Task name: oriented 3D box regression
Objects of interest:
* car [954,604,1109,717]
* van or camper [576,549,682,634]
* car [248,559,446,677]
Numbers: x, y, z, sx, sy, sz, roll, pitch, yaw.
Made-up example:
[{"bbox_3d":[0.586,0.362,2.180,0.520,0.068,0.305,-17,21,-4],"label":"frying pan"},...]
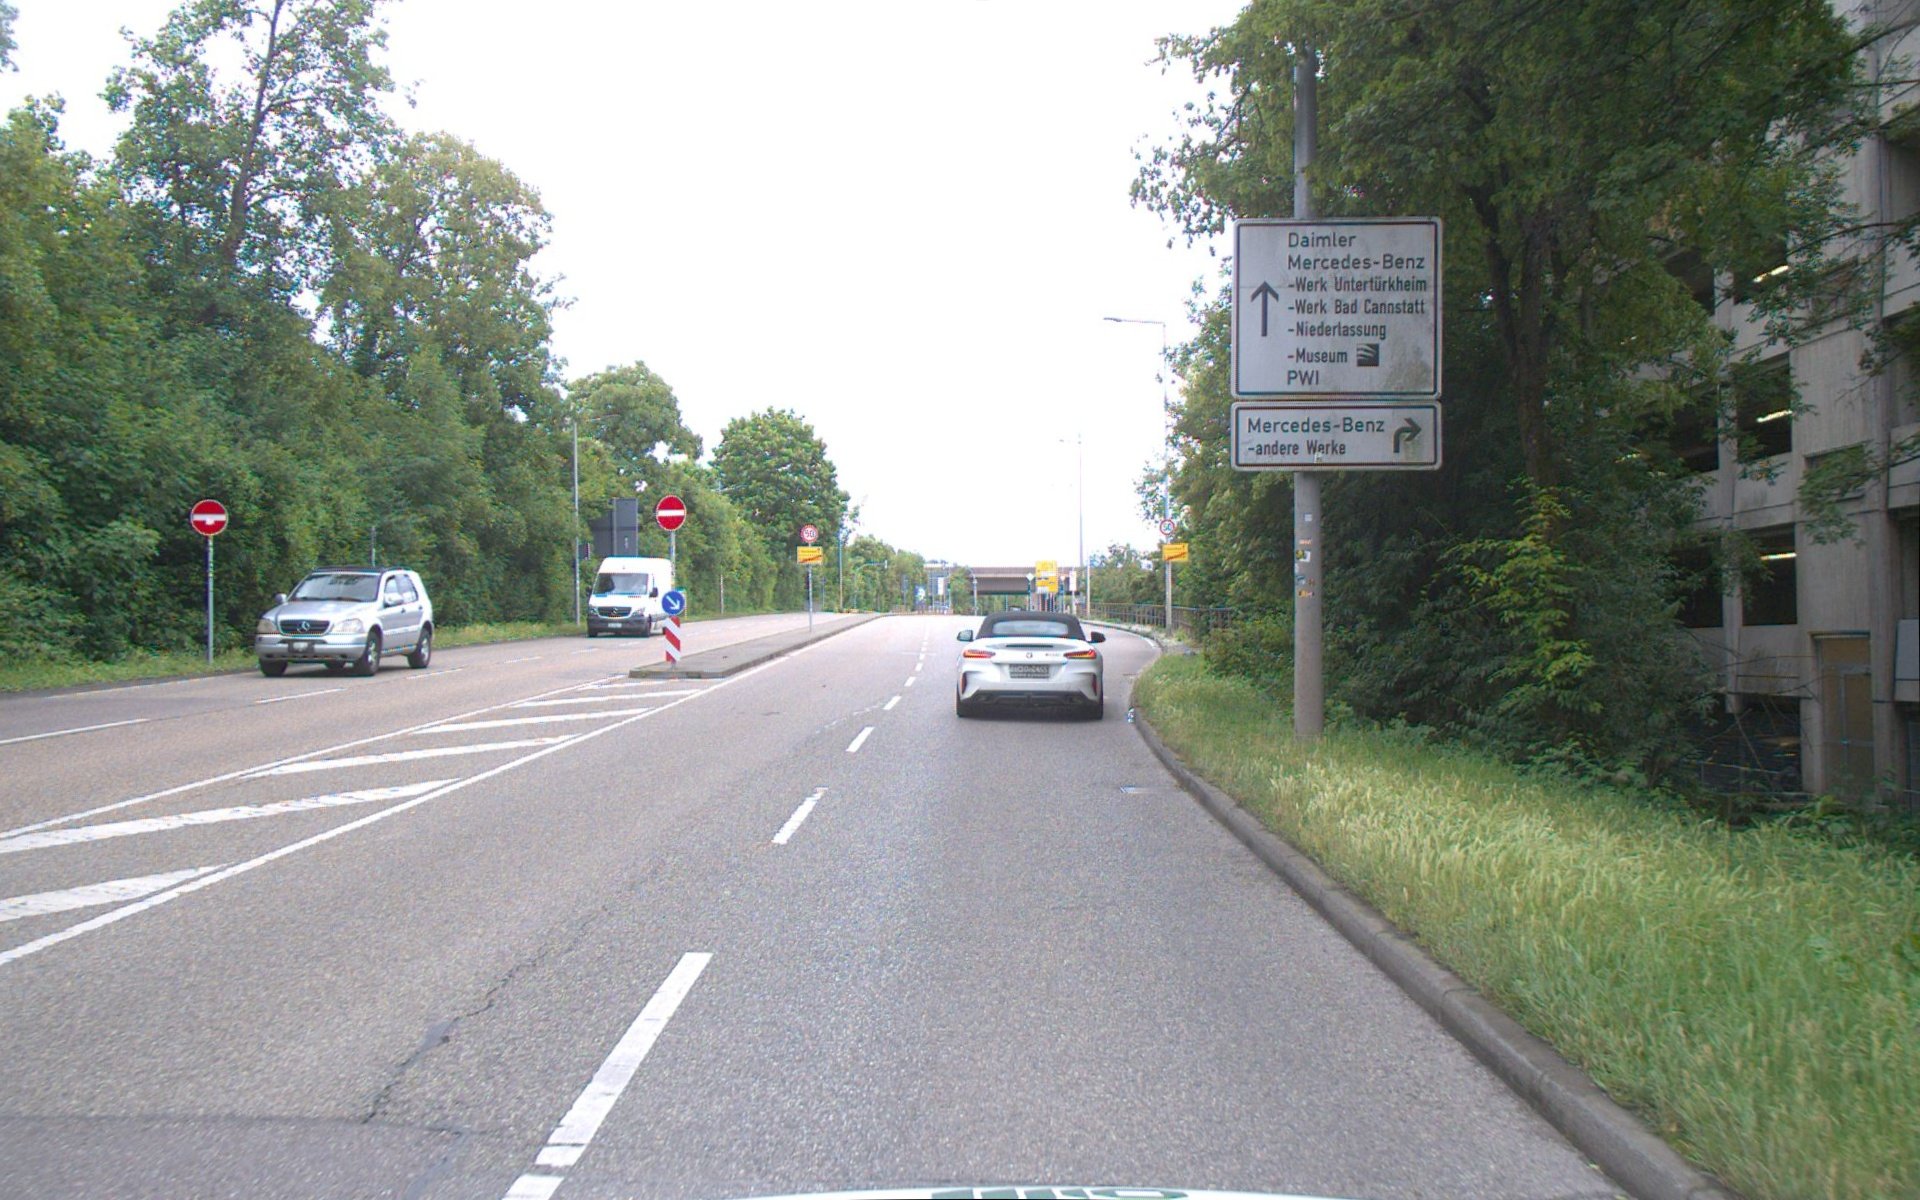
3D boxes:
[{"bbox_3d":[0.868,0.725,21.619,1.836,1.332,3.873,0,0,1],"label":"car"},{"bbox_3d":[-10.980,-0.265,55.404,2.236,2.599,6.857,2,0,-1],"label":"van or camper"},{"bbox_3d":[-10.415,0.263,28.474,1.776,1.862,4.383,0,1,0],"label":"car"}]
